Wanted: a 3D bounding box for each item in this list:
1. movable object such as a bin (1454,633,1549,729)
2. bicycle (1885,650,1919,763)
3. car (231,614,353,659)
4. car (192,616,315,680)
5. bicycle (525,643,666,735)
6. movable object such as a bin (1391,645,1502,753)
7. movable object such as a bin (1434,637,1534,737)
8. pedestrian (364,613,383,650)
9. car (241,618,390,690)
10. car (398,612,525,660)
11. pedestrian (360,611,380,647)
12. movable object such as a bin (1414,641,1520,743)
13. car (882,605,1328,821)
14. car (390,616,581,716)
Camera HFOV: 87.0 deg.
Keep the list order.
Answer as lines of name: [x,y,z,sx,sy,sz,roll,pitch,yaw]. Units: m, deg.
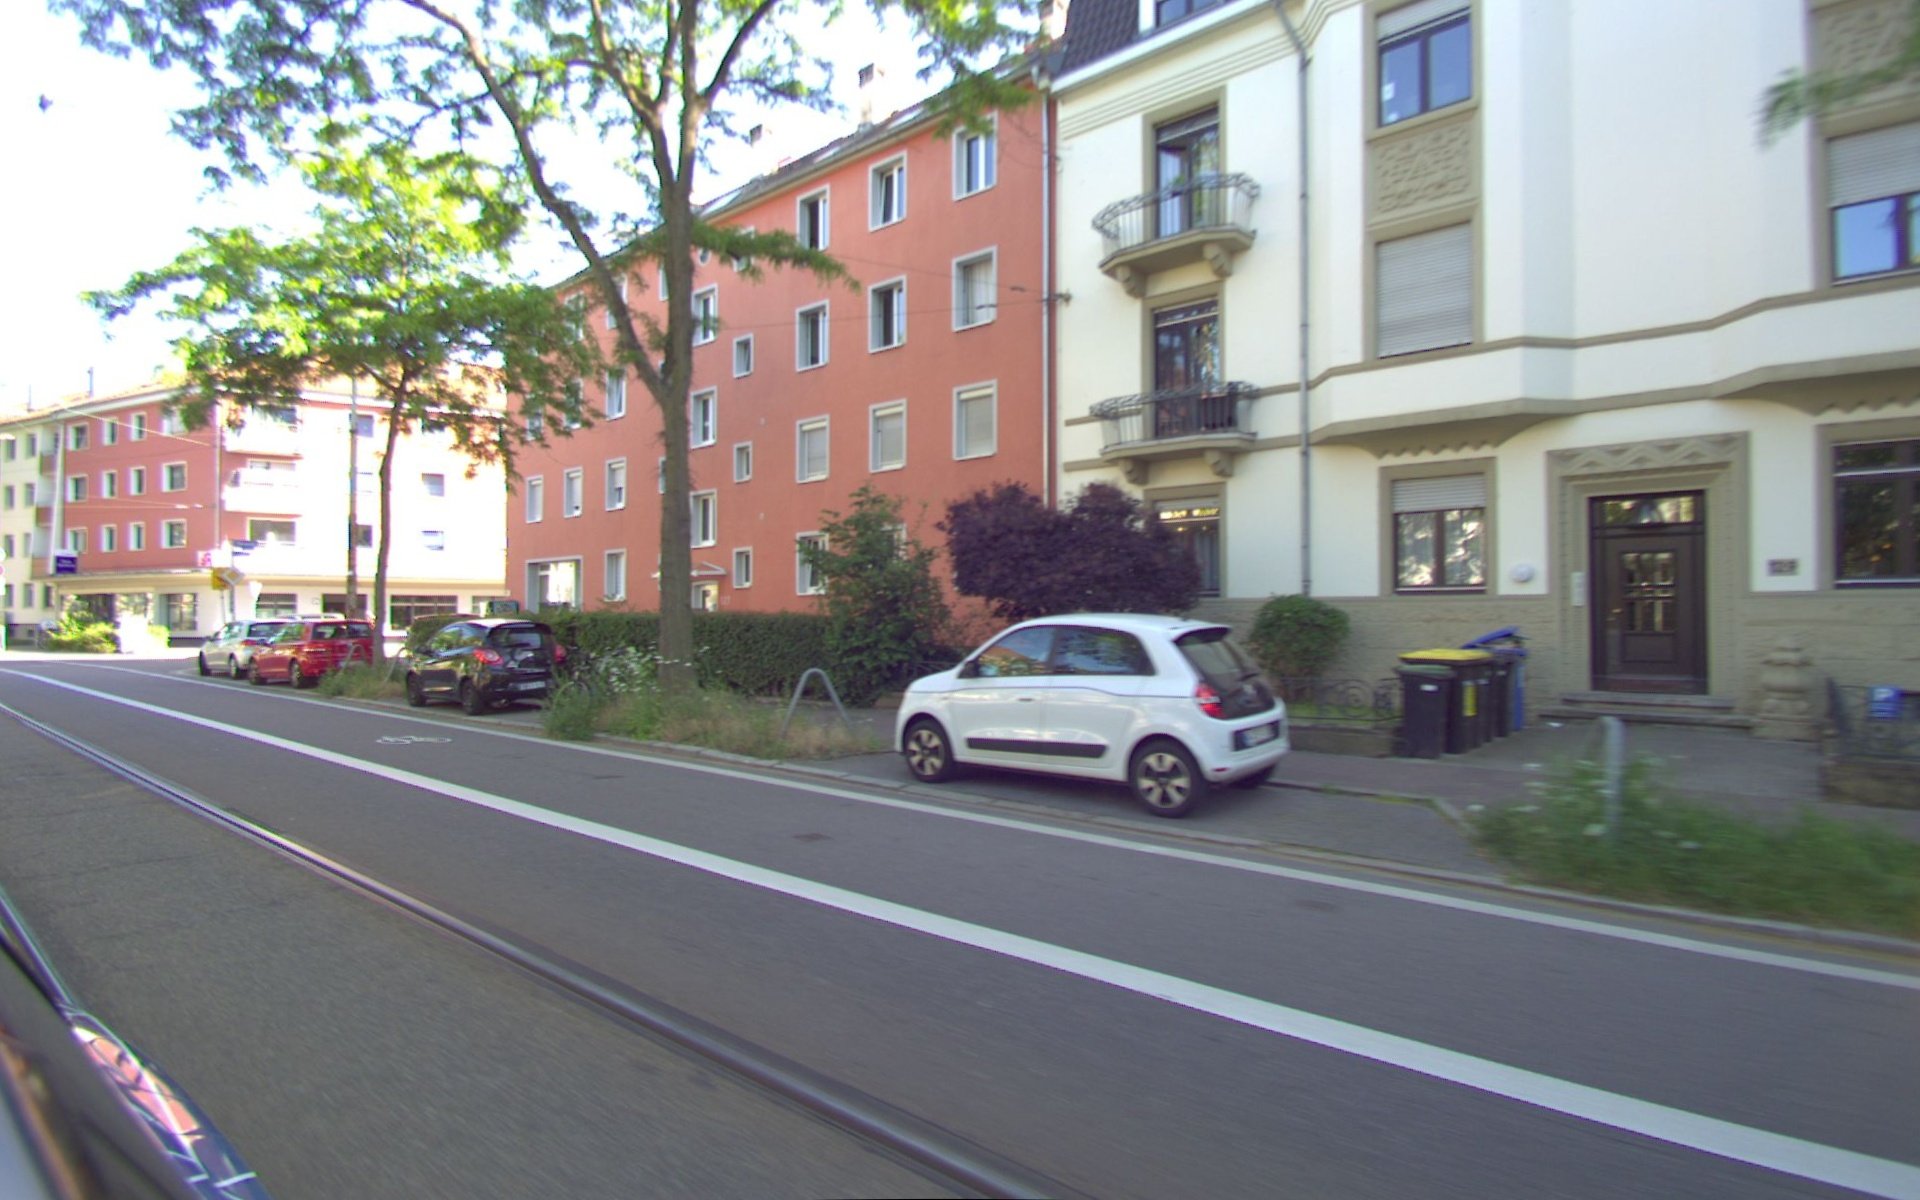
movable object such as a bin: [6.708,0.973,12.544,0.895,1.122,0.730,-1,-2,41]
bicycle: [8.773,0.949,8.532,0.552,1.004,1.855,0,-1,12]
car: [-28.267,1.542,42.980,4.216,1.793,1.793,1,-2,-33]
car: [-18.291,1.187,26.125,4.092,1.517,1.557,-1,-1,39]
bicycle: [-4.980,1.180,13.912,0.542,1.129,1.793,-1,-1,41]
movable object such as a bin: [5.145,1.015,10.701,0.895,1.049,0.730,-1,-2,41]
movable object such as a bin: [6.128,0.990,11.839,0.895,1.093,0.730,-1,-2,41]
pedestrian: [-28.487,1.539,49.169,0.791,1.779,0.510,1,-2,-30]
car: [-14.468,1.145,22.655,4.091,1.465,1.558,-1,-1,38]
car: [-19.706,1.408,40.045,4.414,1.793,1.794,1,-2,-29]
pedestrian: [-29.132,1.439,49.986,0.791,1.779,0.510,1,-2,-30]
movable object such as a bin: [5.639,0.994,11.262,0.895,1.062,0.730,-1,-2,41]
car: [1.181,0.848,9.123,3.686,1.547,1.609,-1,-1,40]
car: [-7.952,1.012,16.838,3.666,1.465,1.538,-1,-1,41]
